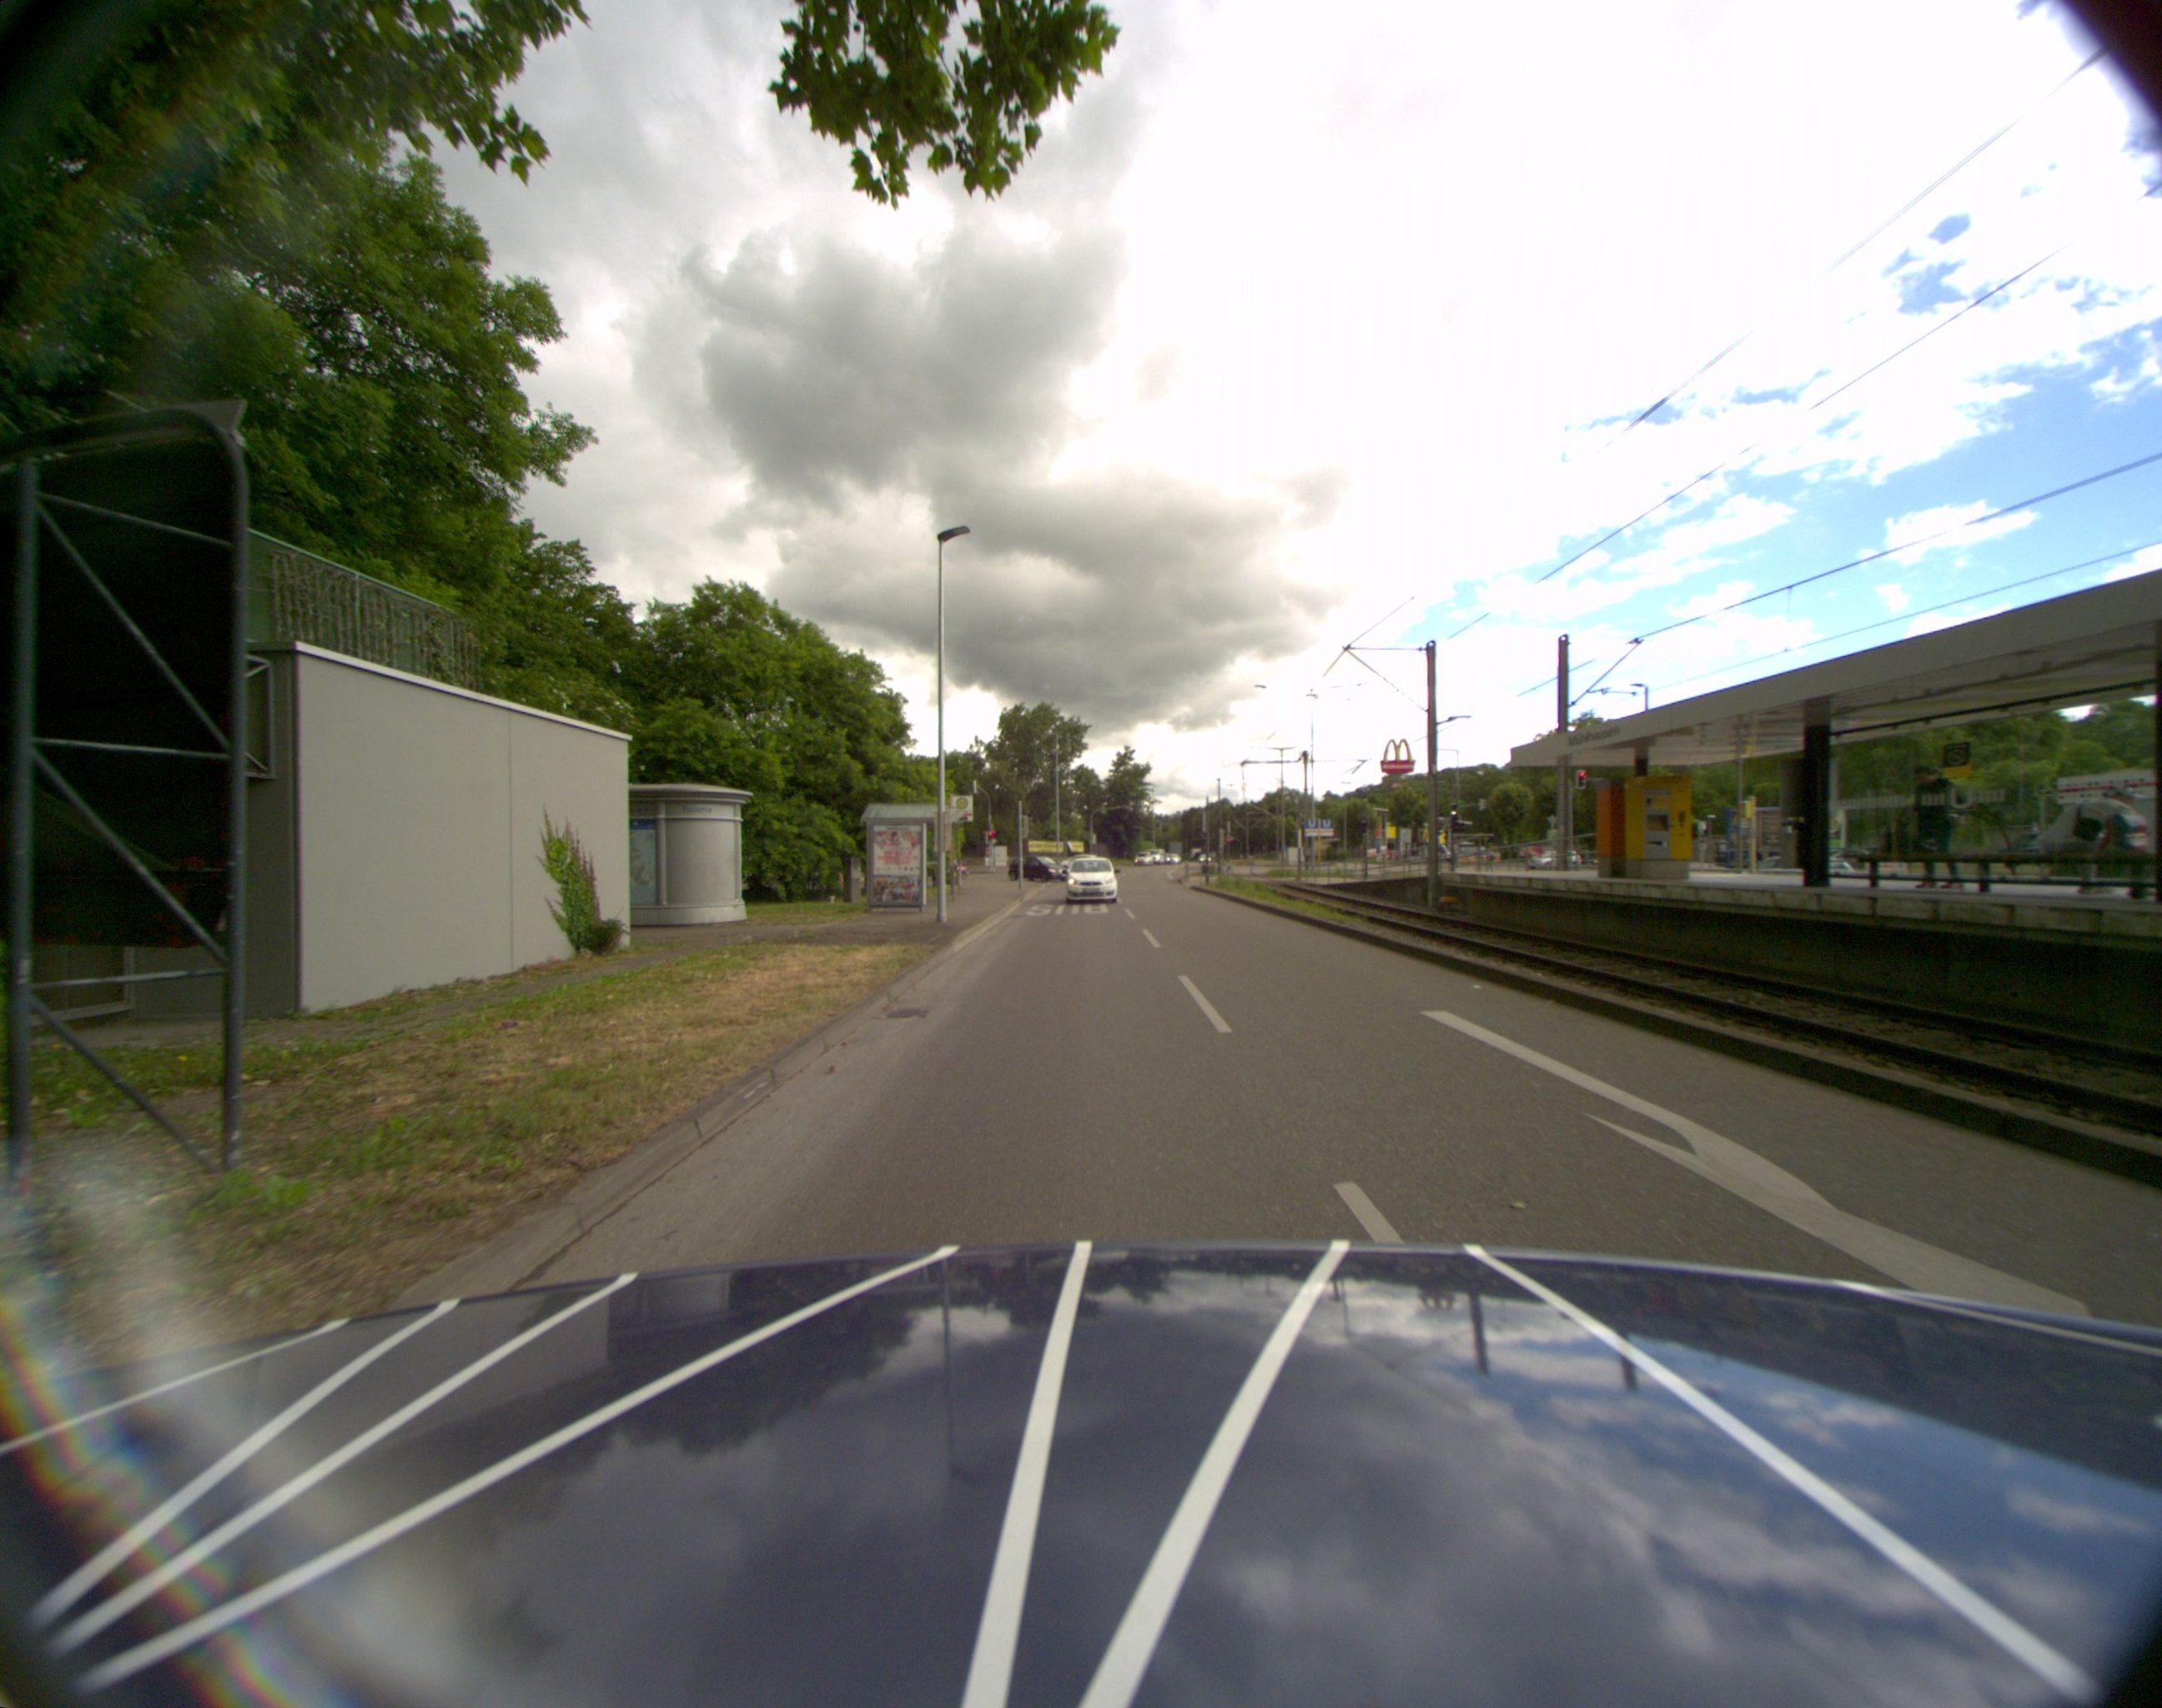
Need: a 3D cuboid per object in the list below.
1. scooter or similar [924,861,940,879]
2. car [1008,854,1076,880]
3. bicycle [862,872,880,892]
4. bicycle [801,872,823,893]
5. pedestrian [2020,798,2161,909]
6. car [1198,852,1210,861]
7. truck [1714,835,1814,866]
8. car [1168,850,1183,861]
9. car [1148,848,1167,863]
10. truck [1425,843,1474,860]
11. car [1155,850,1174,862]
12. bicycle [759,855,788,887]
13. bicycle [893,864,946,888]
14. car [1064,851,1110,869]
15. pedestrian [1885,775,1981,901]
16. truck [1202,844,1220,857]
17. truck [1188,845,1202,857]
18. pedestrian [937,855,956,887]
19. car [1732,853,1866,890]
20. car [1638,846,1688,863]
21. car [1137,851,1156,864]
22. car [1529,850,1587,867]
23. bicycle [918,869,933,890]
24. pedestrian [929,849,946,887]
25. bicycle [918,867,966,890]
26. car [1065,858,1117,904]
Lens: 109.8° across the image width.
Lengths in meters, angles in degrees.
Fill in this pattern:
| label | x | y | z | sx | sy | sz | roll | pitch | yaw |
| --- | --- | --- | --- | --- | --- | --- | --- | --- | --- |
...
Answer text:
| label | x | y | z | sx | sy | sz | roll | pitch | yaw |
| --- | --- | --- | --- | --- | --- | --- | --- | --- | --- |
| scooter or similar | -9.296 | 0.985 | 47.423 | 0.654 | 1.105 | 1.231 | 0 | 1 | 4 |
| car | -2.439 | 0.774 | 46.995 | 4.174 | 1.522 | 1.725 | 0 | 1 | 41 |
| bicycle | -9.321 | 1.245 | 33.792 | 0.478 | 0.803 | 1.514 | -1 | 0 | -4 |
| bicycle | -11.866 | 1.234 | 33.564 | 0.478 | 0.851 | 1.738 | -1 | 0 | -4 |
| pedestrian | 11.305 | -0.005 | 8.458 | 0.771 | 1.182 | 0.728 | 0 | 1 | 4 |
| car | 21.548 | 0.457 | 133.019 | 1.965 | 1.543 | 4.003 | 1 | 1 | 10 |
| truck | 55.045 | -0.281 | 61.367 | 5.820 | 2.480 | 2.387 | 0 | 1 | 2 |
| car | 13.447 | 0.219 | 108.354 | 1.829 | 1.543 | 4.003 | 1 | 1 | 11 |
| car | 9.281 | 0.180 | 92.221 | 1.807 | 1.814 | 4.004 | 0 | 0 | 13 |
| truck | 41.918 | -0.307 | 86.604 | 2.599 | 1.894 | 6.197 | 1 | 1 | 1 |
| car | 11.066 | 0.258 | 100.606 | 1.996 | 1.527 | 4.004 | 1 | 1 | 13 |
| bicycle | -13.532 | 0.735 | 33.489 | 0.646 | 1.364 | 1.657 | -1 | 0 | -4 |
| bicycle | -6.477 | 0.888 | 30.462 | 2.040 | 0.934 | 0.592 | -1 | 0 | 15 |
| car | 0.528 | 0.519 | 64.542 | 3.824 | 1.446 | 1.633 | 0 | 1 | 6 |
| pedestrian | 11.343 | -0.209 | 10.130 | 0.585 | 1.611 | 0.572 | 1 | 1 | 1 |
| truck | 34.451 | -0.947 | 201.733 | 3.435 | 3.539 | 8.699 | 1 | 1 | 2 |
| truck | 30.725 | -0.849 | 205.504 | 2.711 | 3.014 | 8.309 | 1 | 1 | 2 |
| pedestrian | -6.500 | 0.797 | 36.704 | 0.755 | 1.505 | 0.671 | 1 | 1 | 0 |
| car | 28.426 | 0.653 | 30.271 | 1.617 | 1.342 | 4.031 | 0 | 0 | 1 |
| car | 56.284 | 0.064 | 73.514 | 3.639 | 1.545 | 1.727 | -1 | 1 | -3 |
| car | 7.443 | 0.330 | 85.909 | 1.718 | 1.410 | 4.003 | 1 | 1 | 12 |
| car | 42.833 | 0.403 | 68.198 | 4.419 | 1.423 | 1.794 | -1 | 1 | -12 |
| bicycle | -6.955 | 1.136 | 34.042 | 0.524 | 0.900 | 1.851 | 1 | -1 | -9 |
| pedestrian | -6.707 | 0.638 | 35.550 | 0.689 | 1.744 | 0.419 | -1 | 1 | -4 |
| bicycle | -5.846 | 1.032 | 32.009 | 1.871 | 0.919 | 0.545 | 0 | 1 | 2 |
| car | 0.343 | 0.874 | 26.184 | 1.673 | 1.439 | 3.604 | 0 | 0 | 1 |
